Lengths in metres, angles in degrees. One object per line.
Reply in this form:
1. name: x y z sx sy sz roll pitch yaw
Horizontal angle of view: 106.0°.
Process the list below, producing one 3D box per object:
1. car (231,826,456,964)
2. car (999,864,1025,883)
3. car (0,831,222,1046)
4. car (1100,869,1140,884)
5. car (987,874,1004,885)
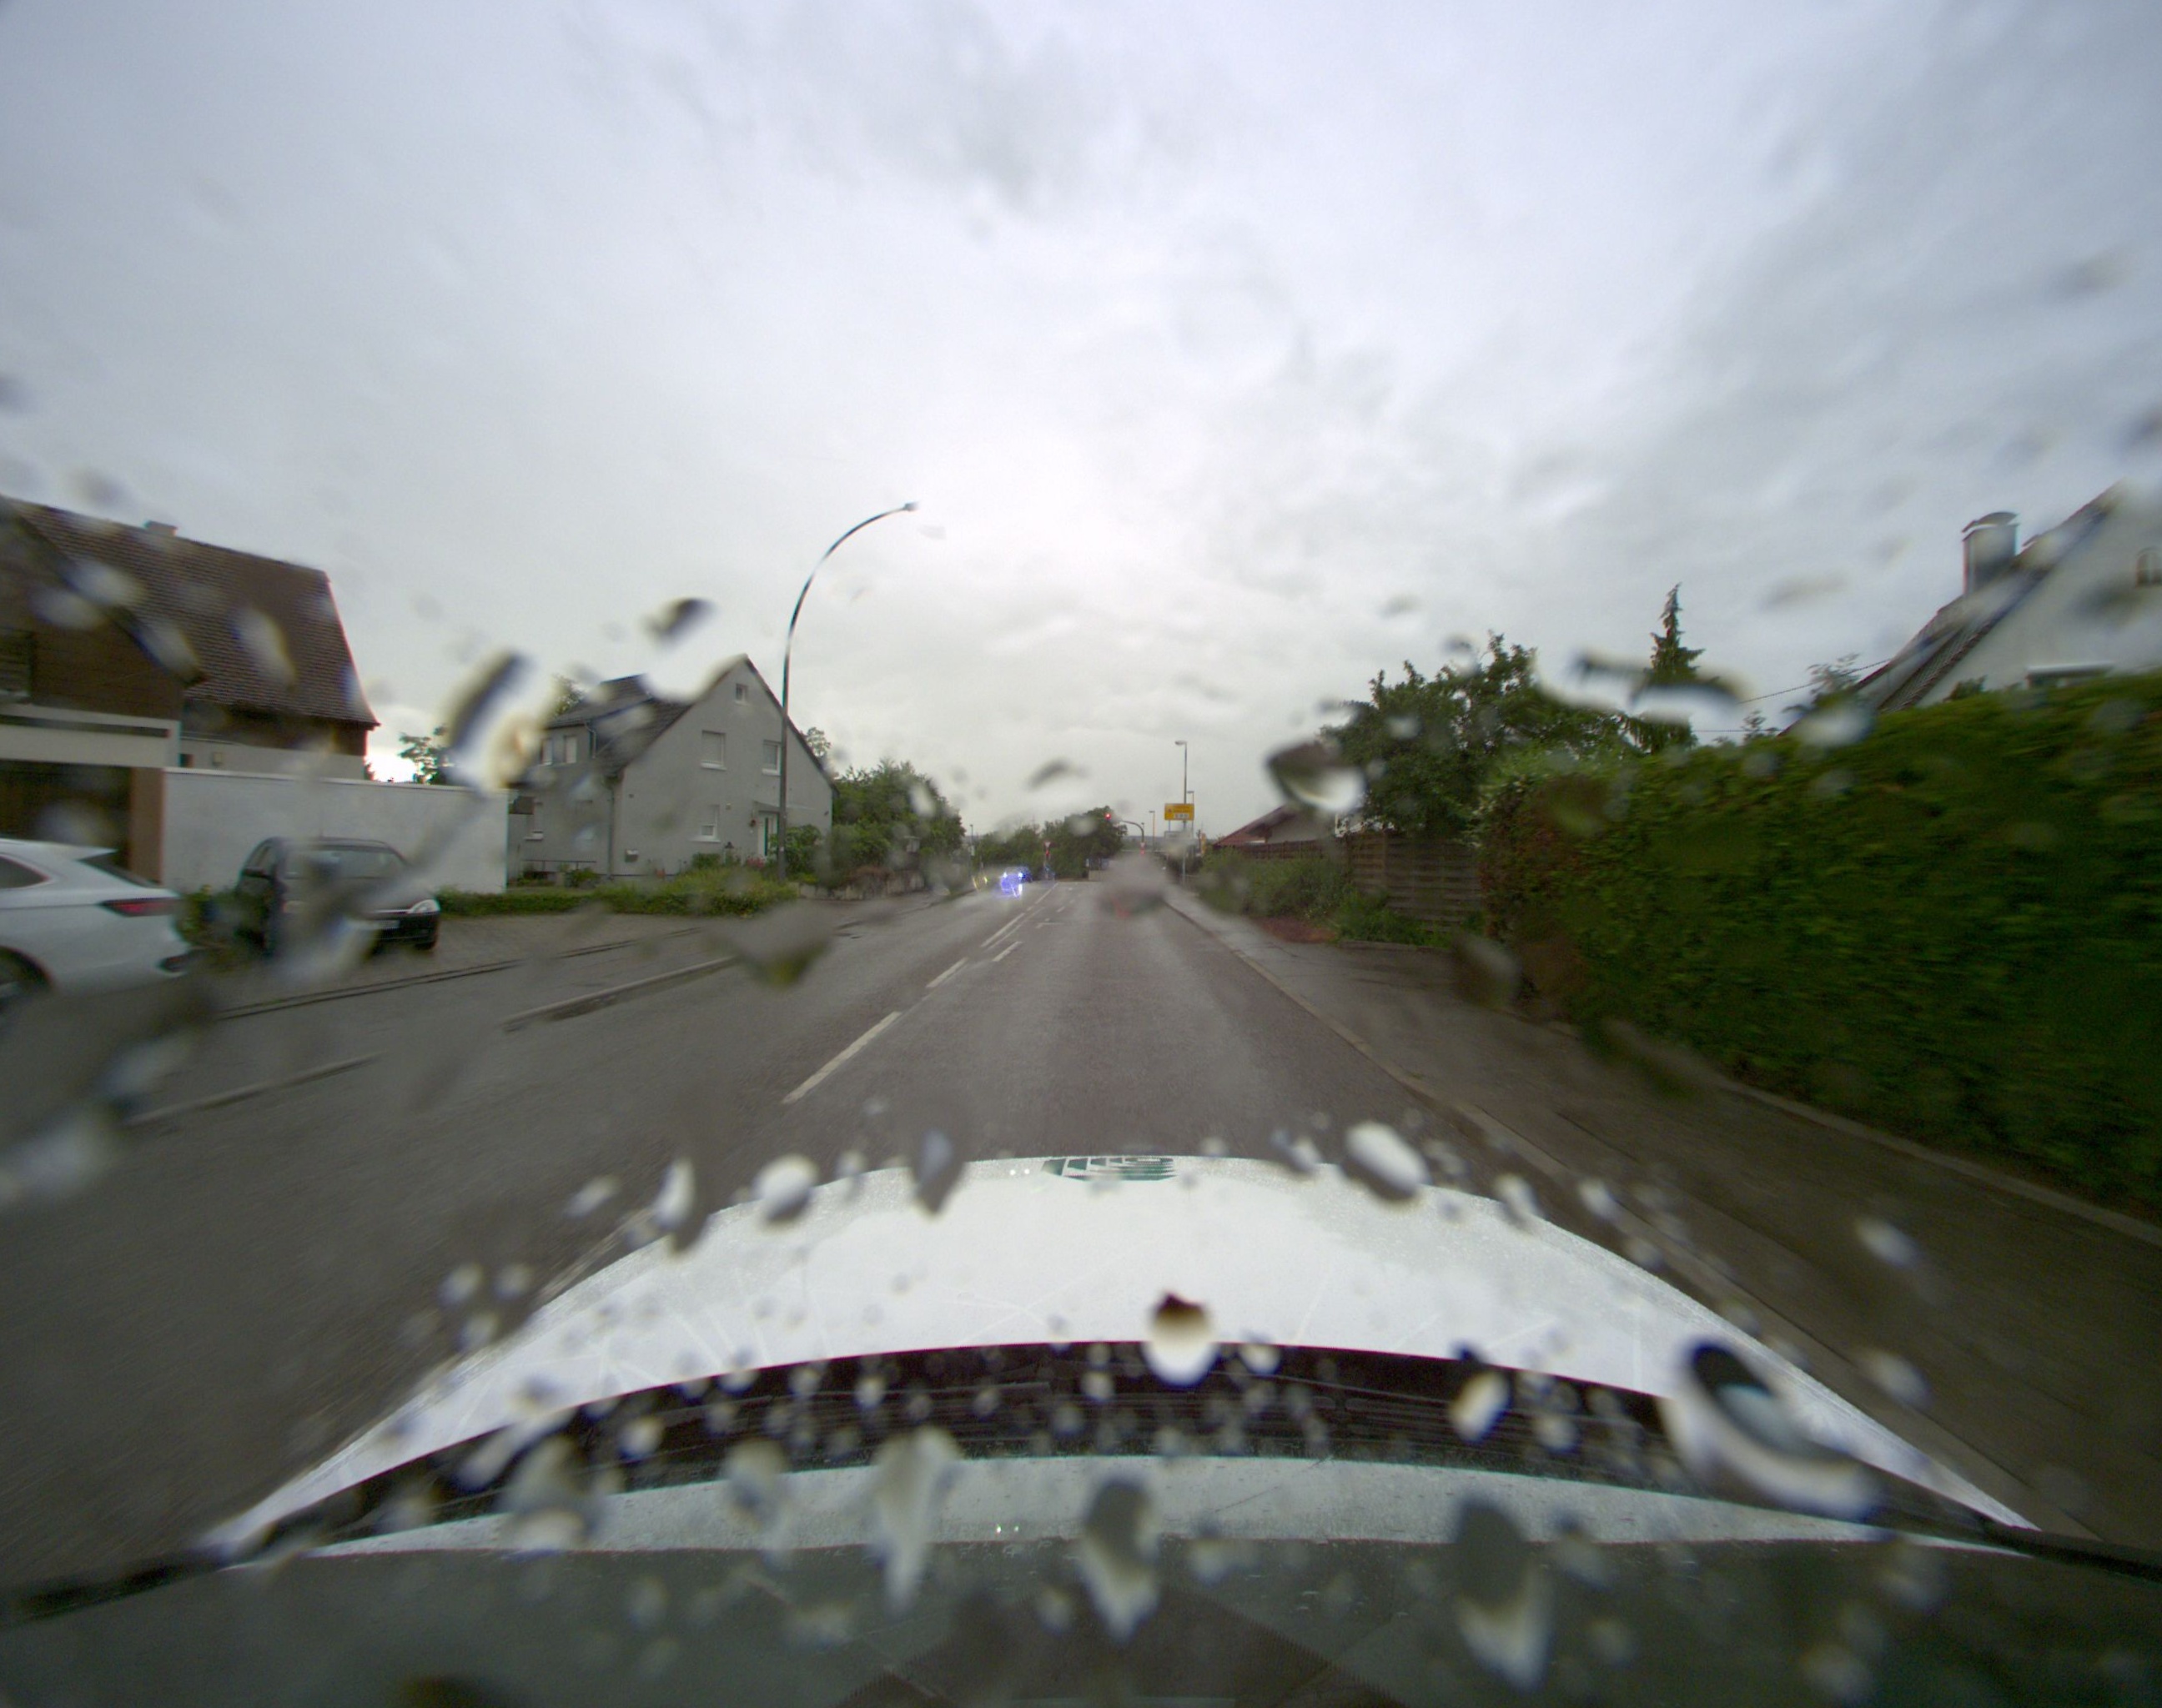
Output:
1. car: -10.233 0.456 11.220 3.726 1.508 1.712 3 0 39
2. car: -5.790 1.612 68.906 1.799 1.523 3.999 1 0 0
3. car: -9.107 0.568 5.077 1.883 1.477 4.913 2 1 34
4. car: 5.113 2.944 108.158 4.695 1.690 2.320 -4 -1 35
5. car: -12.810 3.744 121.896 1.996 1.464 3.981 -2 0 -14
